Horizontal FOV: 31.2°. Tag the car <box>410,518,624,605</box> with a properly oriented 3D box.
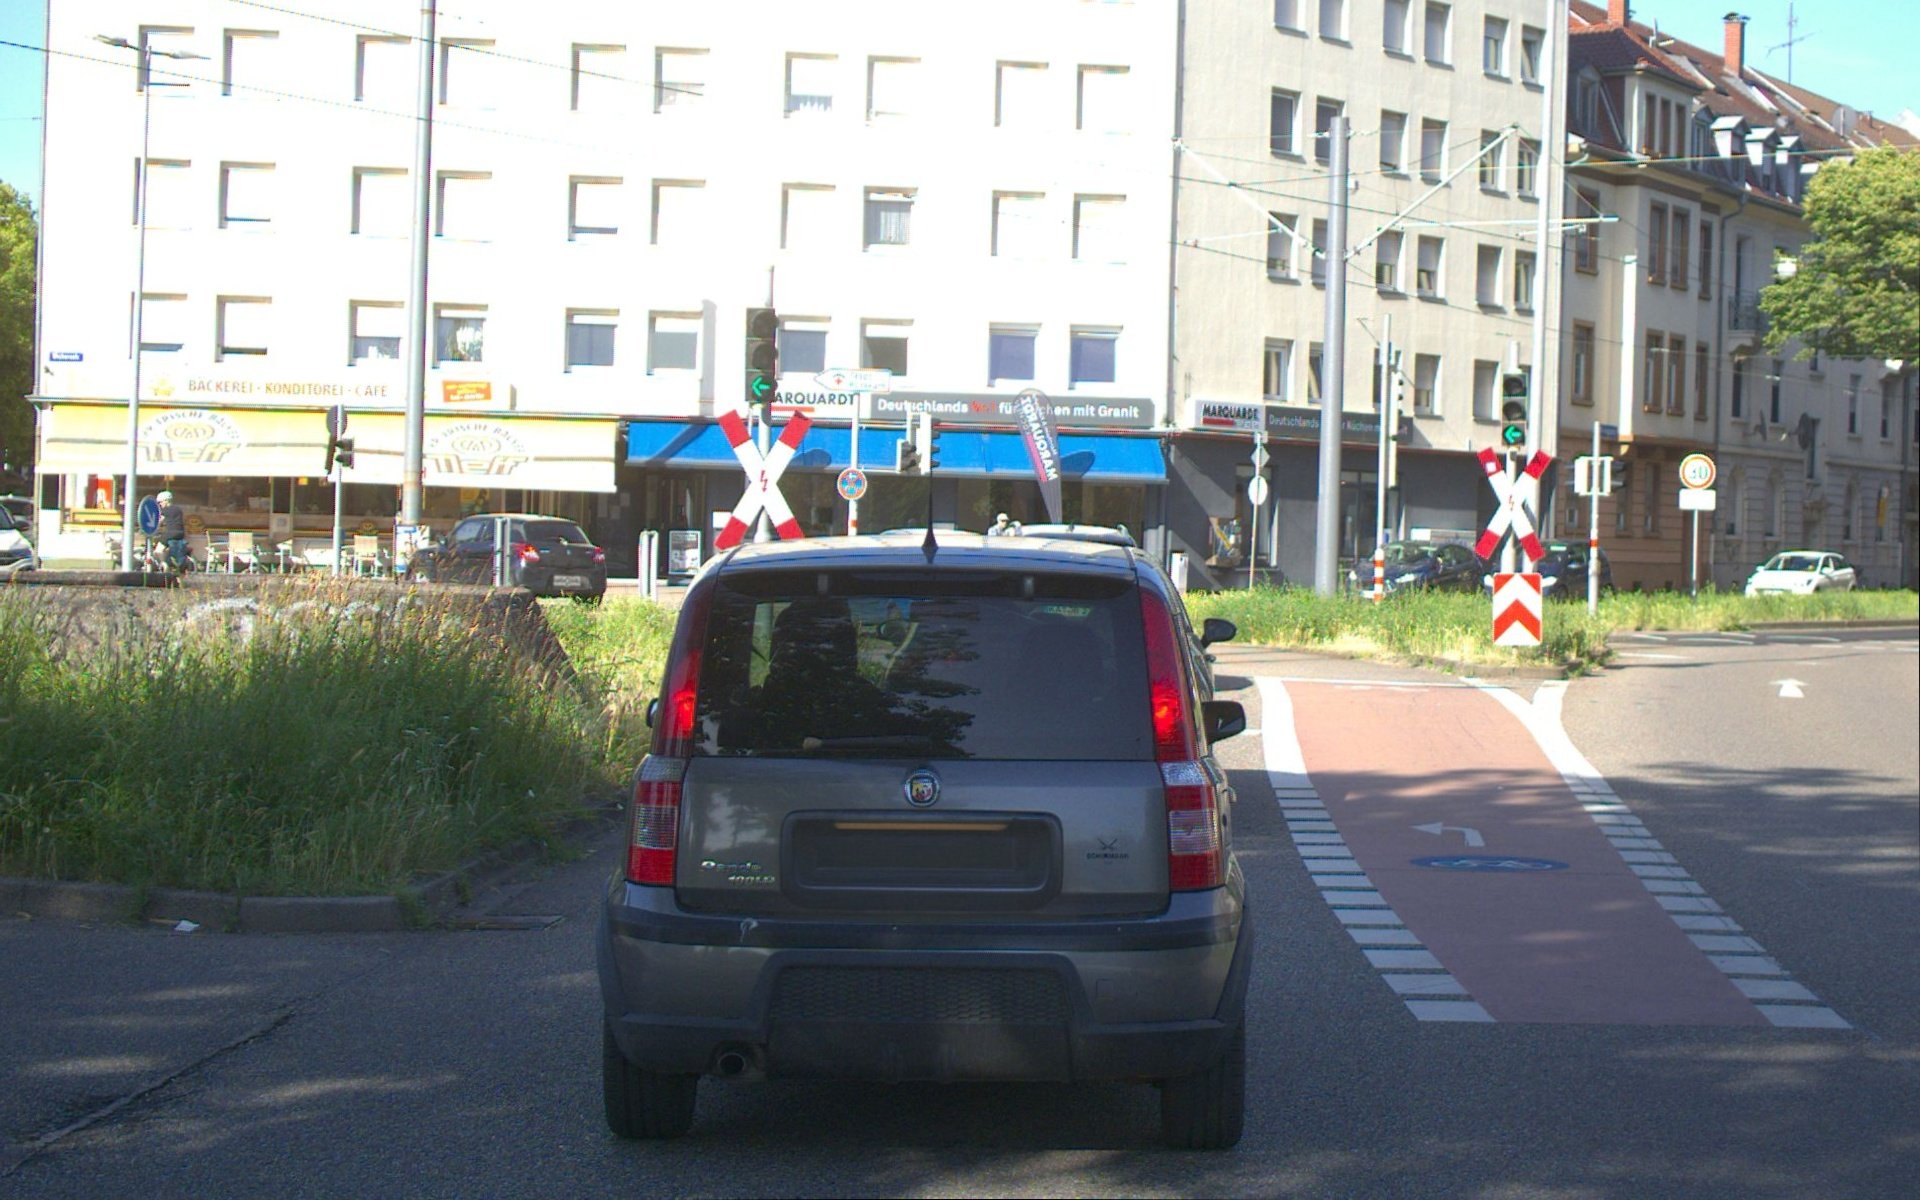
[{"bbox_3d":[-7.049,-0.617,54.502,1.691,1.249,3.625,1,1,-39],"label":"car"}]

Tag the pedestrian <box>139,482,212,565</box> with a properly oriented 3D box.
[{"bbox_3d":[-14.121,-1.378,61.849,0.937,1.423,0.775,3,0,31],"label":"pedestrian"}]

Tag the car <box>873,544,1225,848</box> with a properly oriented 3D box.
[{"bbox_3d":[0.393,0.443,18.712,1.621,1.424,3.689,2,1,-2],"label":"car"}]

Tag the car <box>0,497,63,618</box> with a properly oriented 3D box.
[{"bbox_3d":[-13.630,-0.637,46.294,1.993,1.557,4.388,1,1,-28],"label":"car"}]

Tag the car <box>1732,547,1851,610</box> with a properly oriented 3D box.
[{"bbox_3d":[20.682,-0.540,85.406,1.793,1.477,3.525,3,1,32],"label":"car"}]

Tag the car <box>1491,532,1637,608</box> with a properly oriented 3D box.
[{"bbox_3d":[13.180,-0.645,74.860,1.793,1.560,3.759,3,1,32],"label":"car"}]

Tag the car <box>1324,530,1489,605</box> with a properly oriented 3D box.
[{"bbox_3d":[8.830,-0.639,67.788,1.793,1.391,3.718,3,1,32],"label":"car"}]

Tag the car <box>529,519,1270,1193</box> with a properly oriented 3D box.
[{"bbox_3d":[-0.176,0.555,9.530,1.660,1.505,3.252,2,1,-1],"label":"car"}]

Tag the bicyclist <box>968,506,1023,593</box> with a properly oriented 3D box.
[{"bbox_3d":[0.647,-0.930,62.959,0.822,1.553,0.561,2,1,22],"label":"bicyclist"}]

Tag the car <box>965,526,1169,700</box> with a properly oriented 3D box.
[{"bbox_3d":[1.056,0.069,32.565,1.760,1.481,4.293,2,1,3],"label":"car"}]

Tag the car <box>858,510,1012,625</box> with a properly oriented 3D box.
[{"bbox_3d":[-0.374,-0.461,45.780,1.645,1.433,3.397,2,1,-7],"label":"car"}]

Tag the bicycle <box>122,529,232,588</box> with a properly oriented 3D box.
[{"bbox_3d":[-14.083,-0.747,61.816,1.853,0.948,0.784,3,0,32],"label":"bicycle"}]
